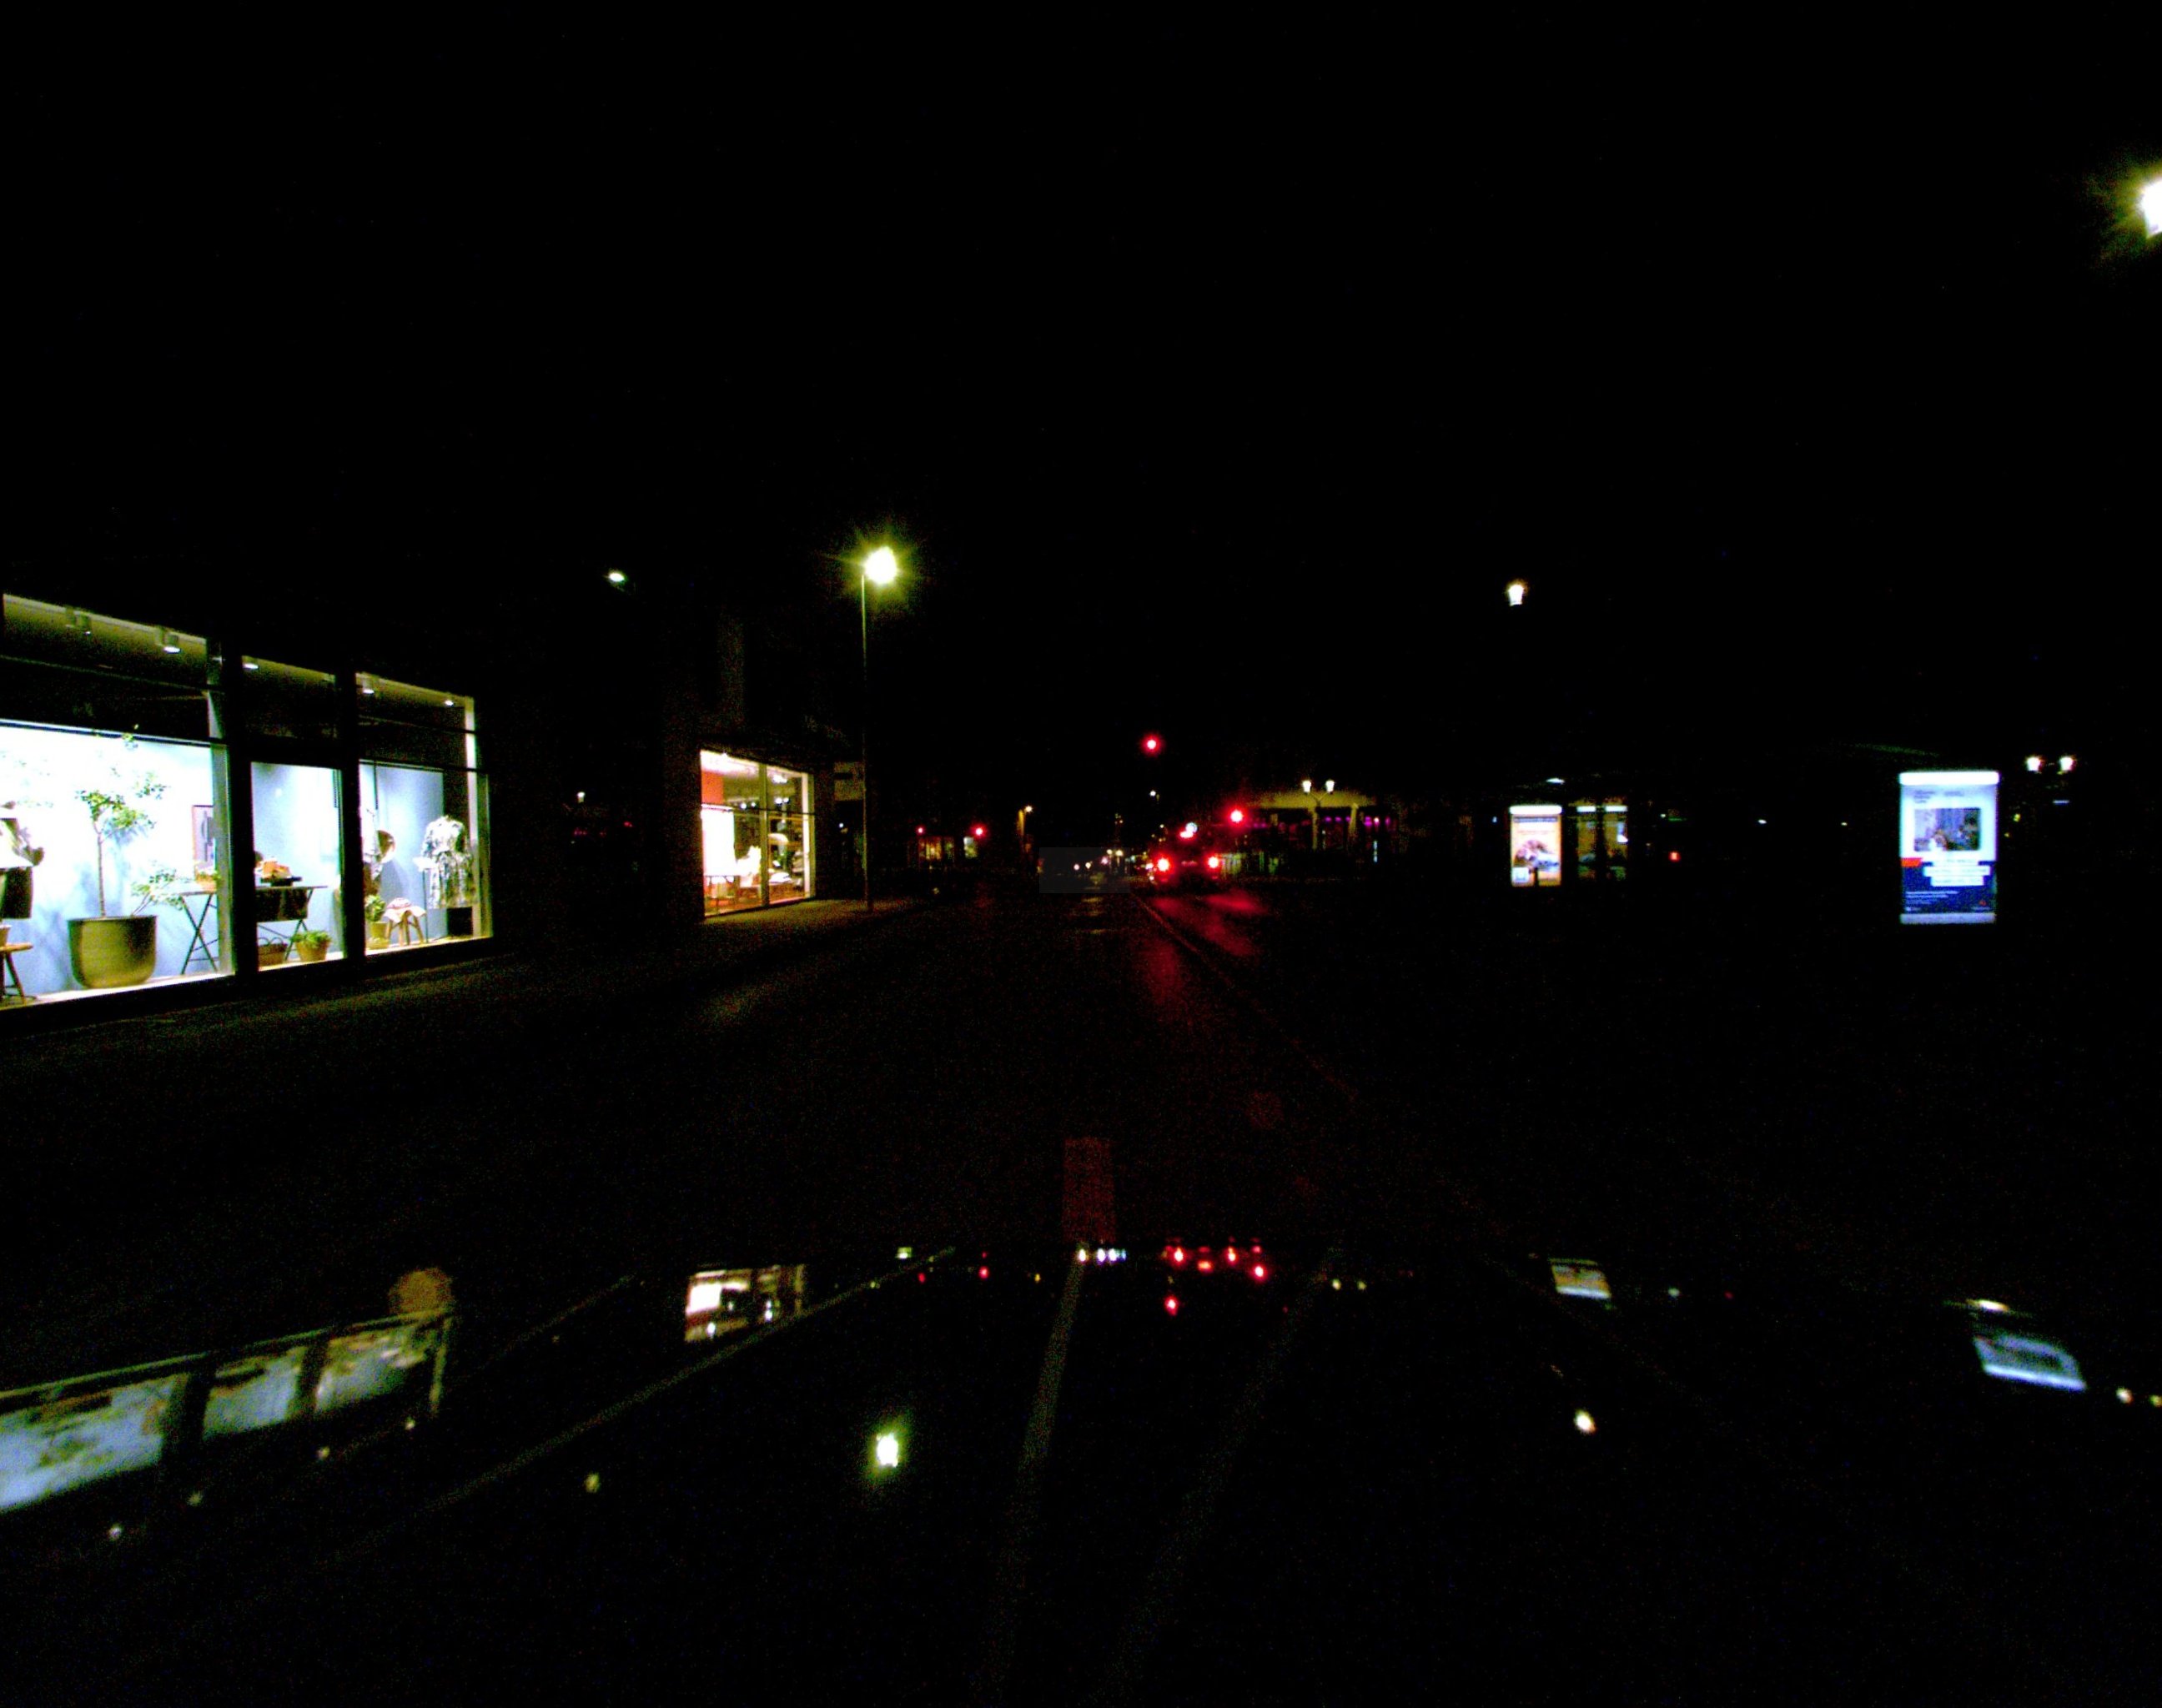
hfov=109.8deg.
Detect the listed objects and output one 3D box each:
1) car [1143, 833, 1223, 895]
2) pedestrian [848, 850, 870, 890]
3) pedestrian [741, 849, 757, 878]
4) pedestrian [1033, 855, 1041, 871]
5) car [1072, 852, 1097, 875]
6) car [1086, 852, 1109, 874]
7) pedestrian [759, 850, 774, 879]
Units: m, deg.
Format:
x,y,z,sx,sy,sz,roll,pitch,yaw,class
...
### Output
x,y,z,sx,sy,sz,roll,pitch,yaw,class
3.361,0.281,25.938,1.972,1.861,4.911,-1,1,-1,car
-9.685,0.696,33.157,0.539,1.672,0.648,-2,1,23,pedestrian
-20.003,0.554,45.754,0.567,1.707,0.567,-2,1,7,pedestrian
-4.164,0.833,71.920,0.647,1.487,0.830,0,1,2,pedestrian
0.288,0.700,60.132,1.713,1.660,3.738,-2,1,3,car
1.421,0.773,67.120,1.879,1.718,3.999,-2,1,1,car
-18.845,0.653,45.569,0.524,1.707,0.567,-2,1,5,pedestrian
